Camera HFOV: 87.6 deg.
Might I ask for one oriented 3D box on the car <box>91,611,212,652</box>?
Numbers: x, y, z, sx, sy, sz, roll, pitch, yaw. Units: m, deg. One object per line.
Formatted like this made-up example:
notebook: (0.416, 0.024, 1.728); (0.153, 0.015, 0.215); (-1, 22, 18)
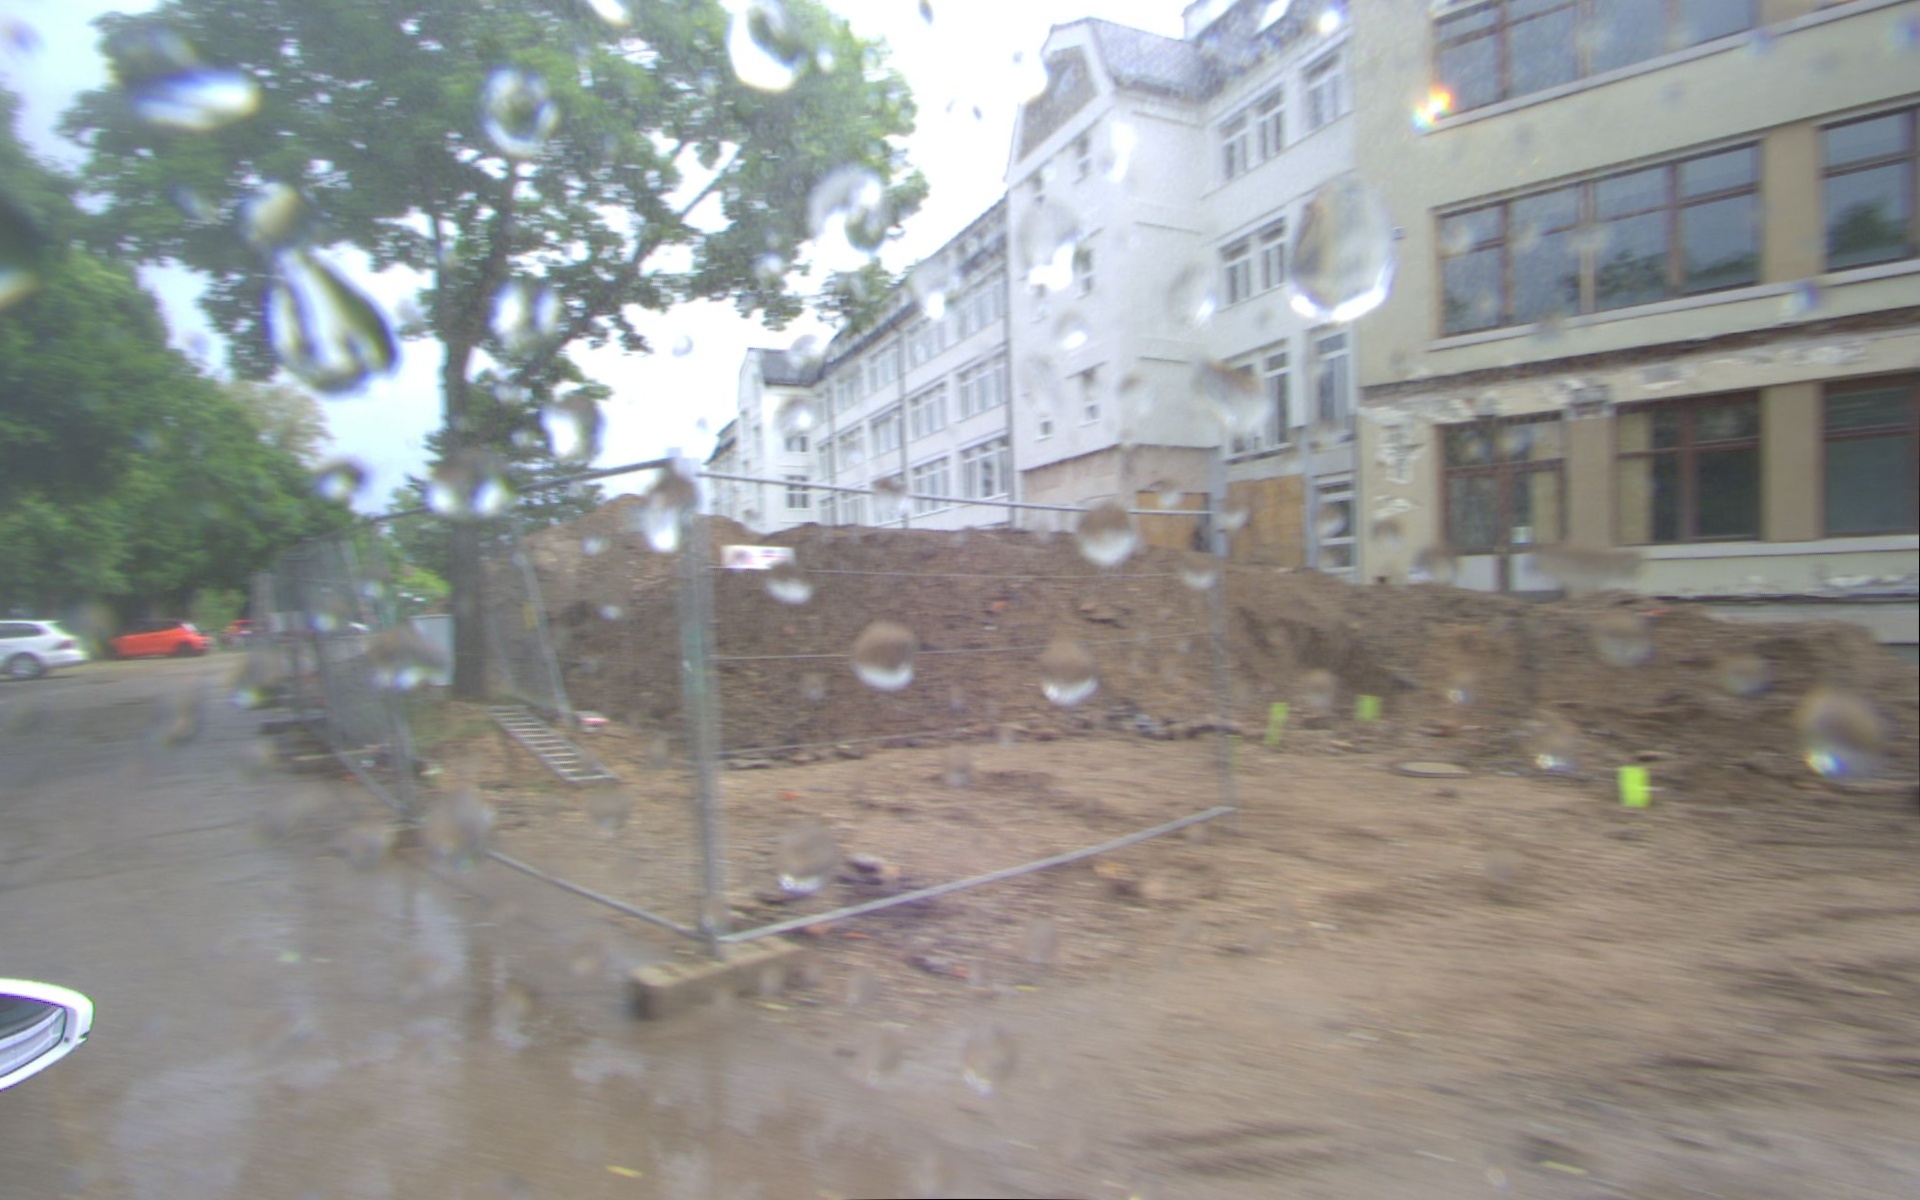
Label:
car: (-30.564, 1.168, 37.973); (3.241, 1.444, 1.586); (0, 1, -23)

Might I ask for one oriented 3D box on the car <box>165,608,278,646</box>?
car: (-34.372, 1.249, 46.772); (4.063, 1.672, 1.836); (0, 1, -31)

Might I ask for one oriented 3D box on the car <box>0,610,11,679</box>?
car: (-23.051, 1.029, 22.182); (2.730, 1.504, 1.580); (-1, 2, -38)

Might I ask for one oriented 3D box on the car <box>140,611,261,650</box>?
car: (-32.053, 1.259, 42.391); (3.746, 1.549, 1.901); (0, 1, -25)

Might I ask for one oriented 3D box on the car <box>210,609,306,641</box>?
car: (-36.679, 1.273, 52.426); (3.941, 1.581, 1.754); (0, 1, -29)

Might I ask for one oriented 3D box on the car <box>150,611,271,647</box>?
car: (-33.057, 1.260, 44.301); (3.938, 1.516, 1.985); (0, 1, -26)

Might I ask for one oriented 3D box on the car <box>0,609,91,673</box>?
car: (-23.694, 1.010, 24.609); (3.402, 1.488, 1.726); (-1, 2, -38)

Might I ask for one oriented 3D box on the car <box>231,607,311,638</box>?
car: (-37.854, 1.211, 55.105); (3.550, 1.642, 1.857); (0, 1, -33)

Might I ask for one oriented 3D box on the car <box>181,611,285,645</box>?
car: (-35.328, 1.330, 48.771); (3.899, 1.537, 1.796); (0, 1, -31)

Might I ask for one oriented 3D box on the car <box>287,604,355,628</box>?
car: (-43.714, 1.071, 68.555); (3.814, 1.594, 1.947); (0, 1, -30)

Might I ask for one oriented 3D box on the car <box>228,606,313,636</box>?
car: (-39.180, 1.173, 56.991); (3.814, 1.594, 1.947); (0, 1, -30)
